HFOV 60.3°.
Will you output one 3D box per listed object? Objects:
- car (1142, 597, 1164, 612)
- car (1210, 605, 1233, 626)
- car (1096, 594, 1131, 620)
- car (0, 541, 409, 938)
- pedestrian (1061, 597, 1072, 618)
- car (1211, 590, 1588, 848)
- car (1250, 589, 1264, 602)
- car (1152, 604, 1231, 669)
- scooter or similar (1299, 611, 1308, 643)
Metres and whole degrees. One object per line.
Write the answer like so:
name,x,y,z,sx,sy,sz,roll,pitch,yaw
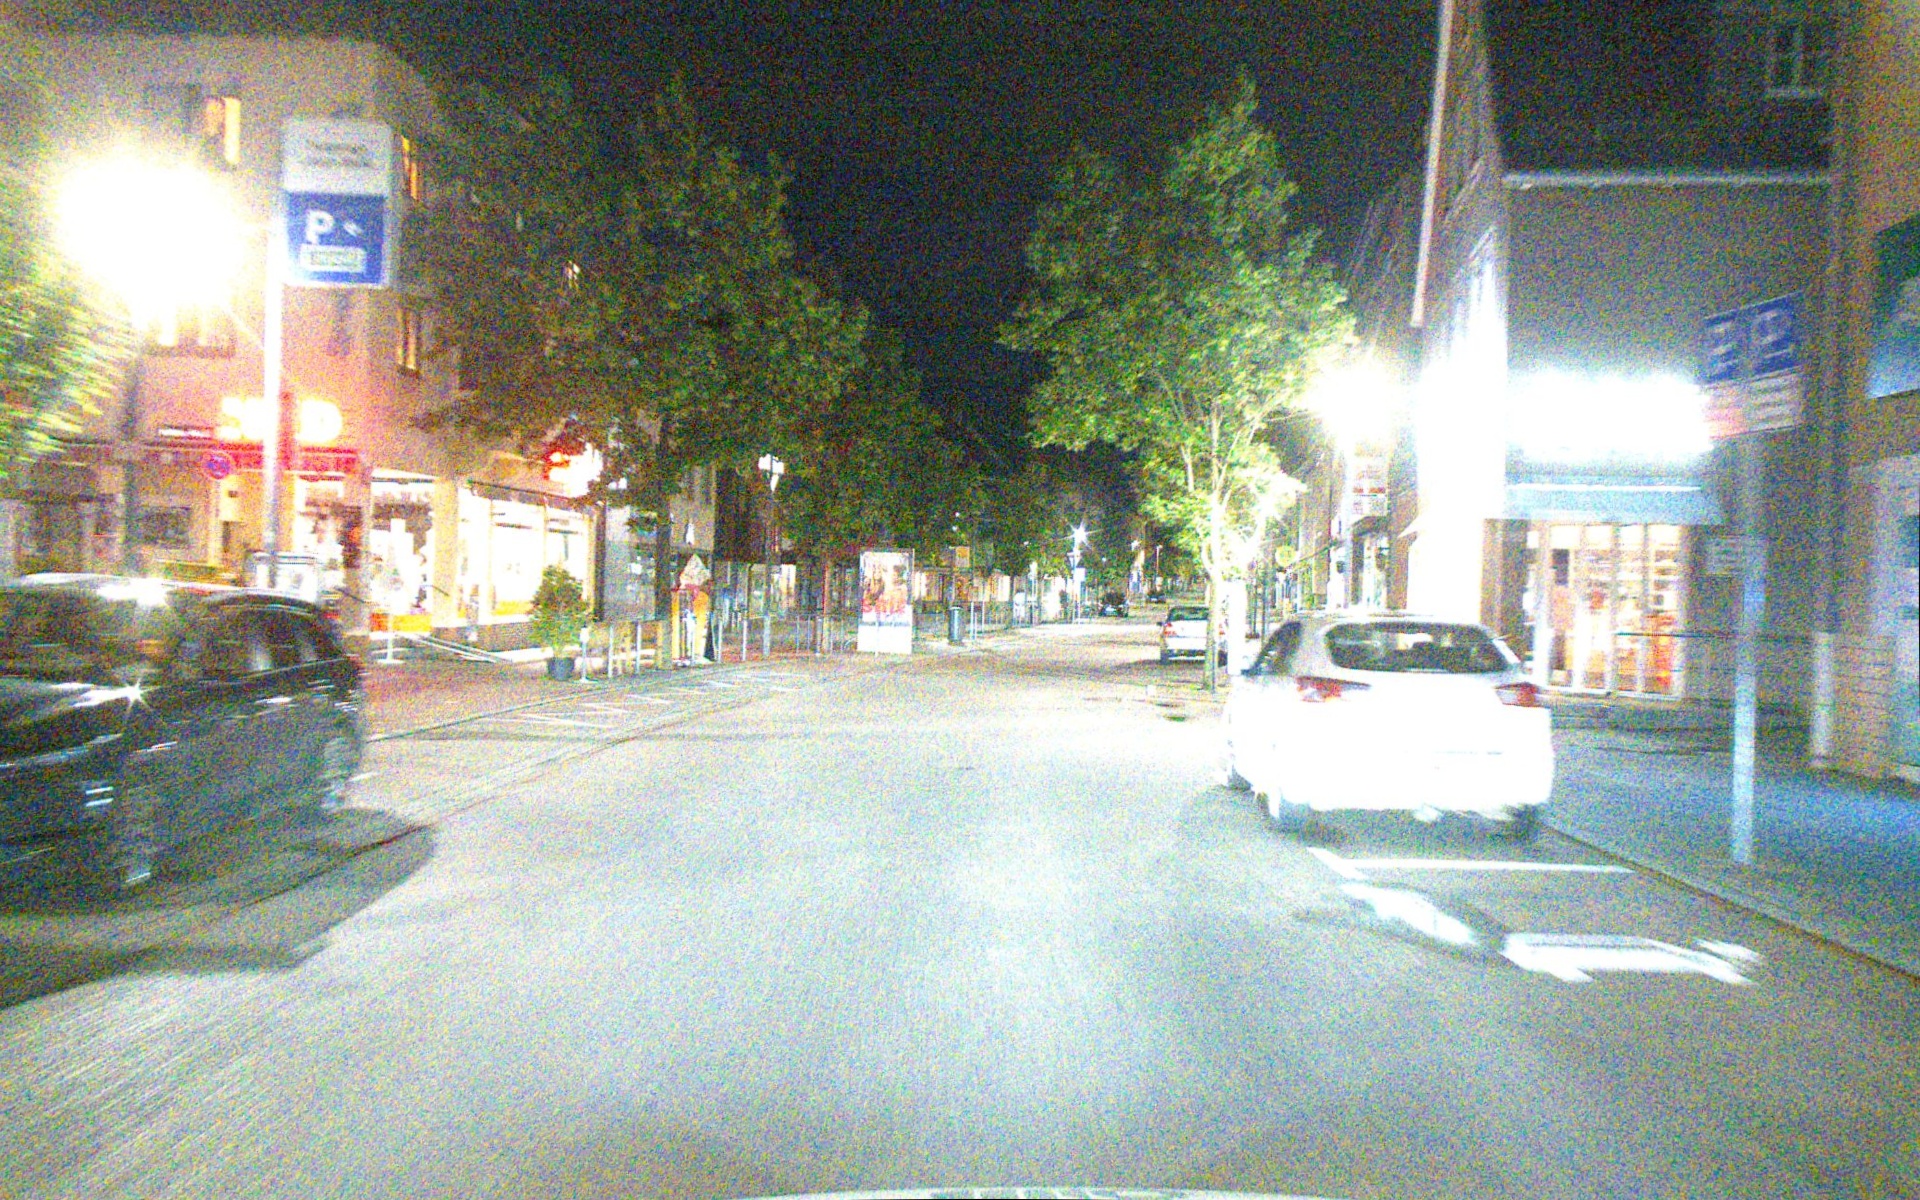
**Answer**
car,20.206,0.442,172.887,1.873,1.394,4.461,1,1,12
car,19.516,1.165,123.591,1.639,1.485,3.679,1,0,8
car,11.119,0.473,119.408,1.975,1.720,5.007,3,1,11
car,-4.741,0.564,9.338,1.723,1.666,4.814,1,0,-1
pedestrian,8.782,0.584,136.166,0.753,1.685,0.782,1,2,11
car,2.991,0.755,12.258,1.706,1.514,4.637,1,-1,2
car,40.096,-0.606,223.509,1.737,1.681,4.368,1,1,11
car,5.793,0.878,41.750,1.698,1.466,4.499,1,0,5
scooter or similar,14.486,1.142,69.778,0.365,1.299,1.306,1,-1,11
